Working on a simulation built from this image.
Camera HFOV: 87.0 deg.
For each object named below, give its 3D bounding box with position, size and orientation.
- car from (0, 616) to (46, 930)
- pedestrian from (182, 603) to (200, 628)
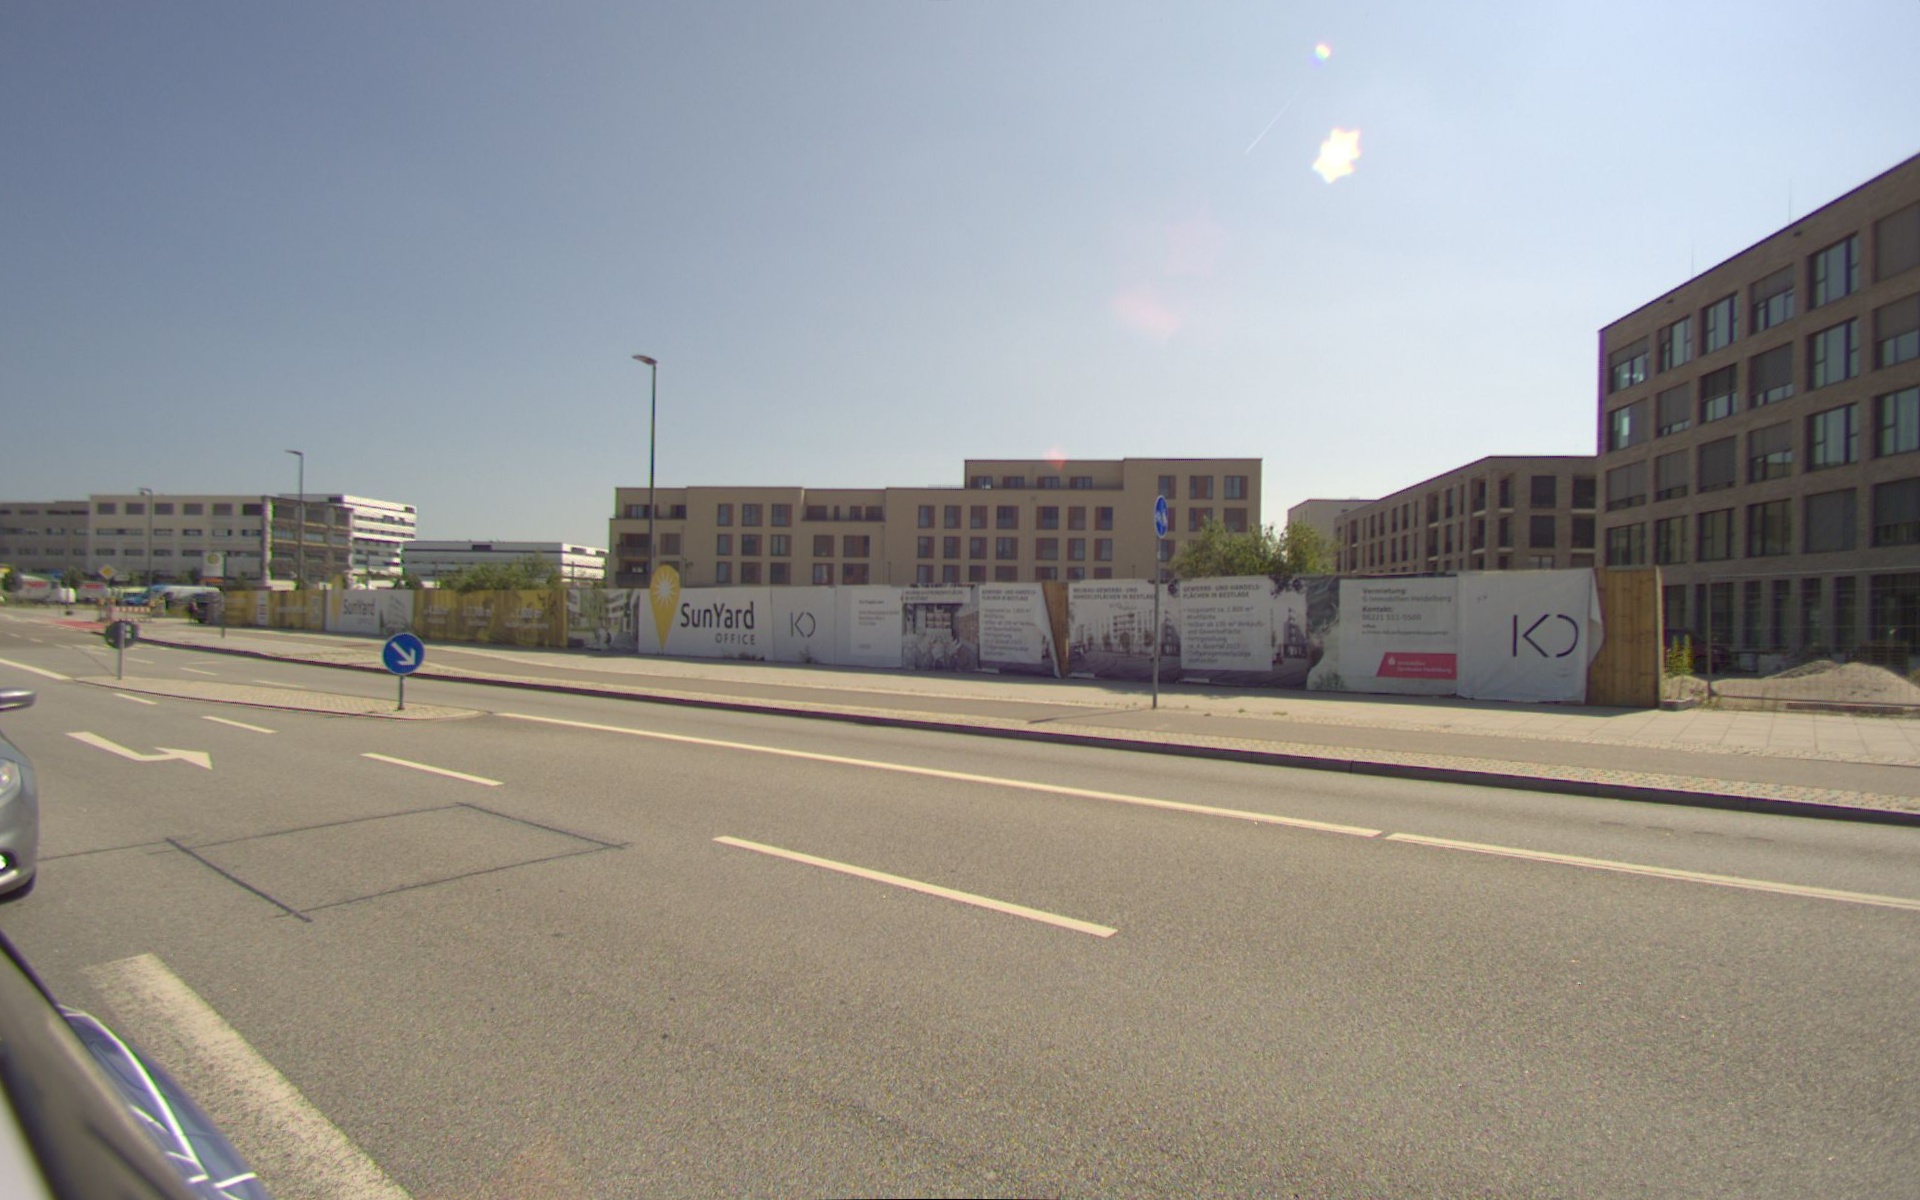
[{"bbox_3d":[-6.293,0.796,5.306,4.134,1.390,1.762,-1,0,41],"label":"car"},{"bbox_3d":[-49.008,0.980,64.496,0.610,1.598,0.703,-1,0,5],"label":"pedestrian"}]
